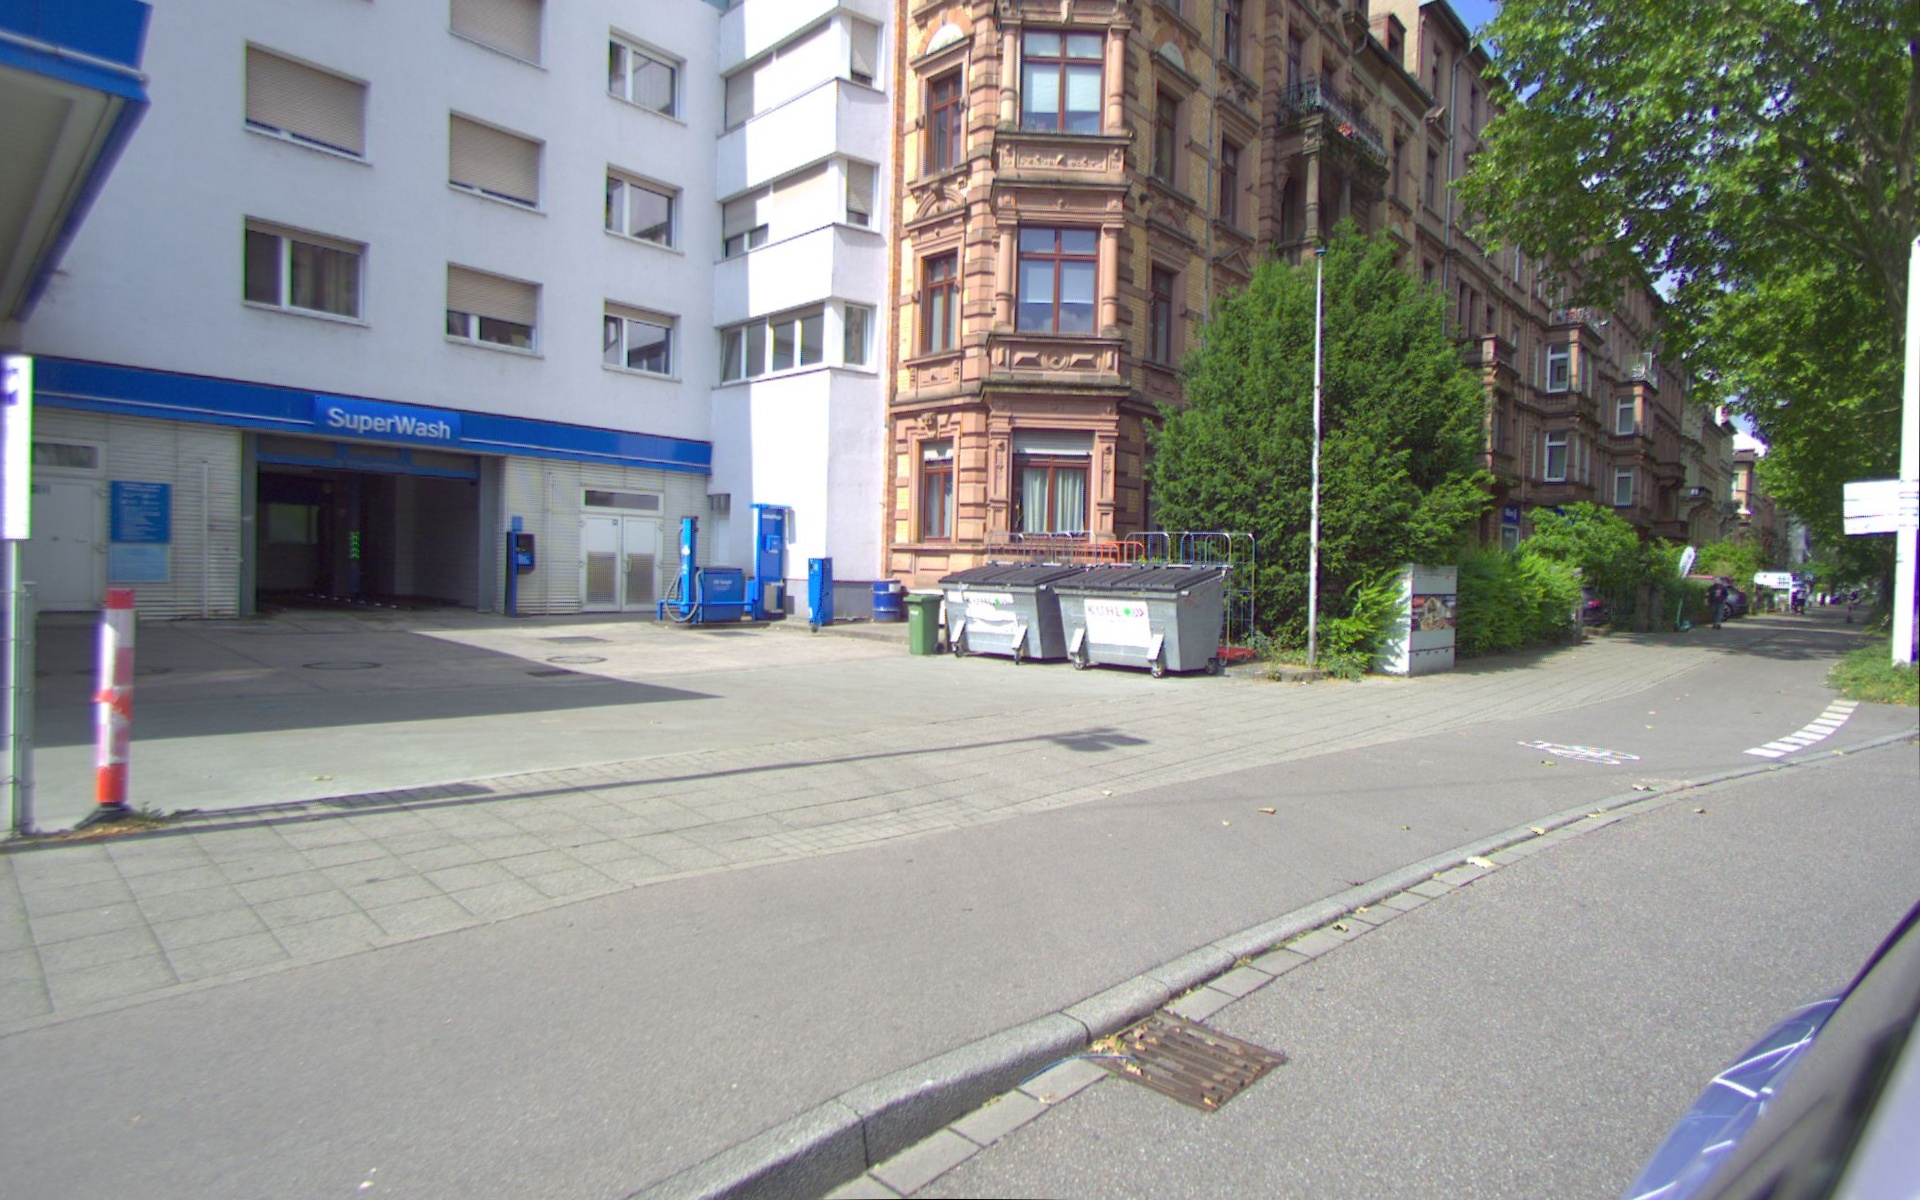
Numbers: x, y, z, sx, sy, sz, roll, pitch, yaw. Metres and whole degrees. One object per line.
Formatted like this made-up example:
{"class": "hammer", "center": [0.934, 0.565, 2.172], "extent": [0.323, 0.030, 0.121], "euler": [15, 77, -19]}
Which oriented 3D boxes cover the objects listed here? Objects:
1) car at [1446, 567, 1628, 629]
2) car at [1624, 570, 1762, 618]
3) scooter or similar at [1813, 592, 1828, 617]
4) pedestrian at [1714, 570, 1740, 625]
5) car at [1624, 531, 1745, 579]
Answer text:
{"class": "car", "center": [16.857, -0.102, 29.687], "extent": [4.237, 1.487, 1.911], "euler": [5, 4, 44]}
{"class": "car", "center": [32.094, -0.319, 44.472], "extent": [4.709, 1.804, 1.980], "euler": [4, 3, 36]}
{"class": "scooter or similar", "center": [42.839, 0.222, 50.363], "extent": [0.467, 1.225, 1.303], "euler": [3, 2, 43]}
{"class": "pedestrian", "center": [25.982, -0.089, 34.280], "extent": [0.564, 1.808, 0.620], "euler": [3, 2, 43]}
{"class": "car", "center": [35.258, -2.210, 49.324], "extent": [1.950, 1.962, 4.405], "euler": [1, 5, -43]}
